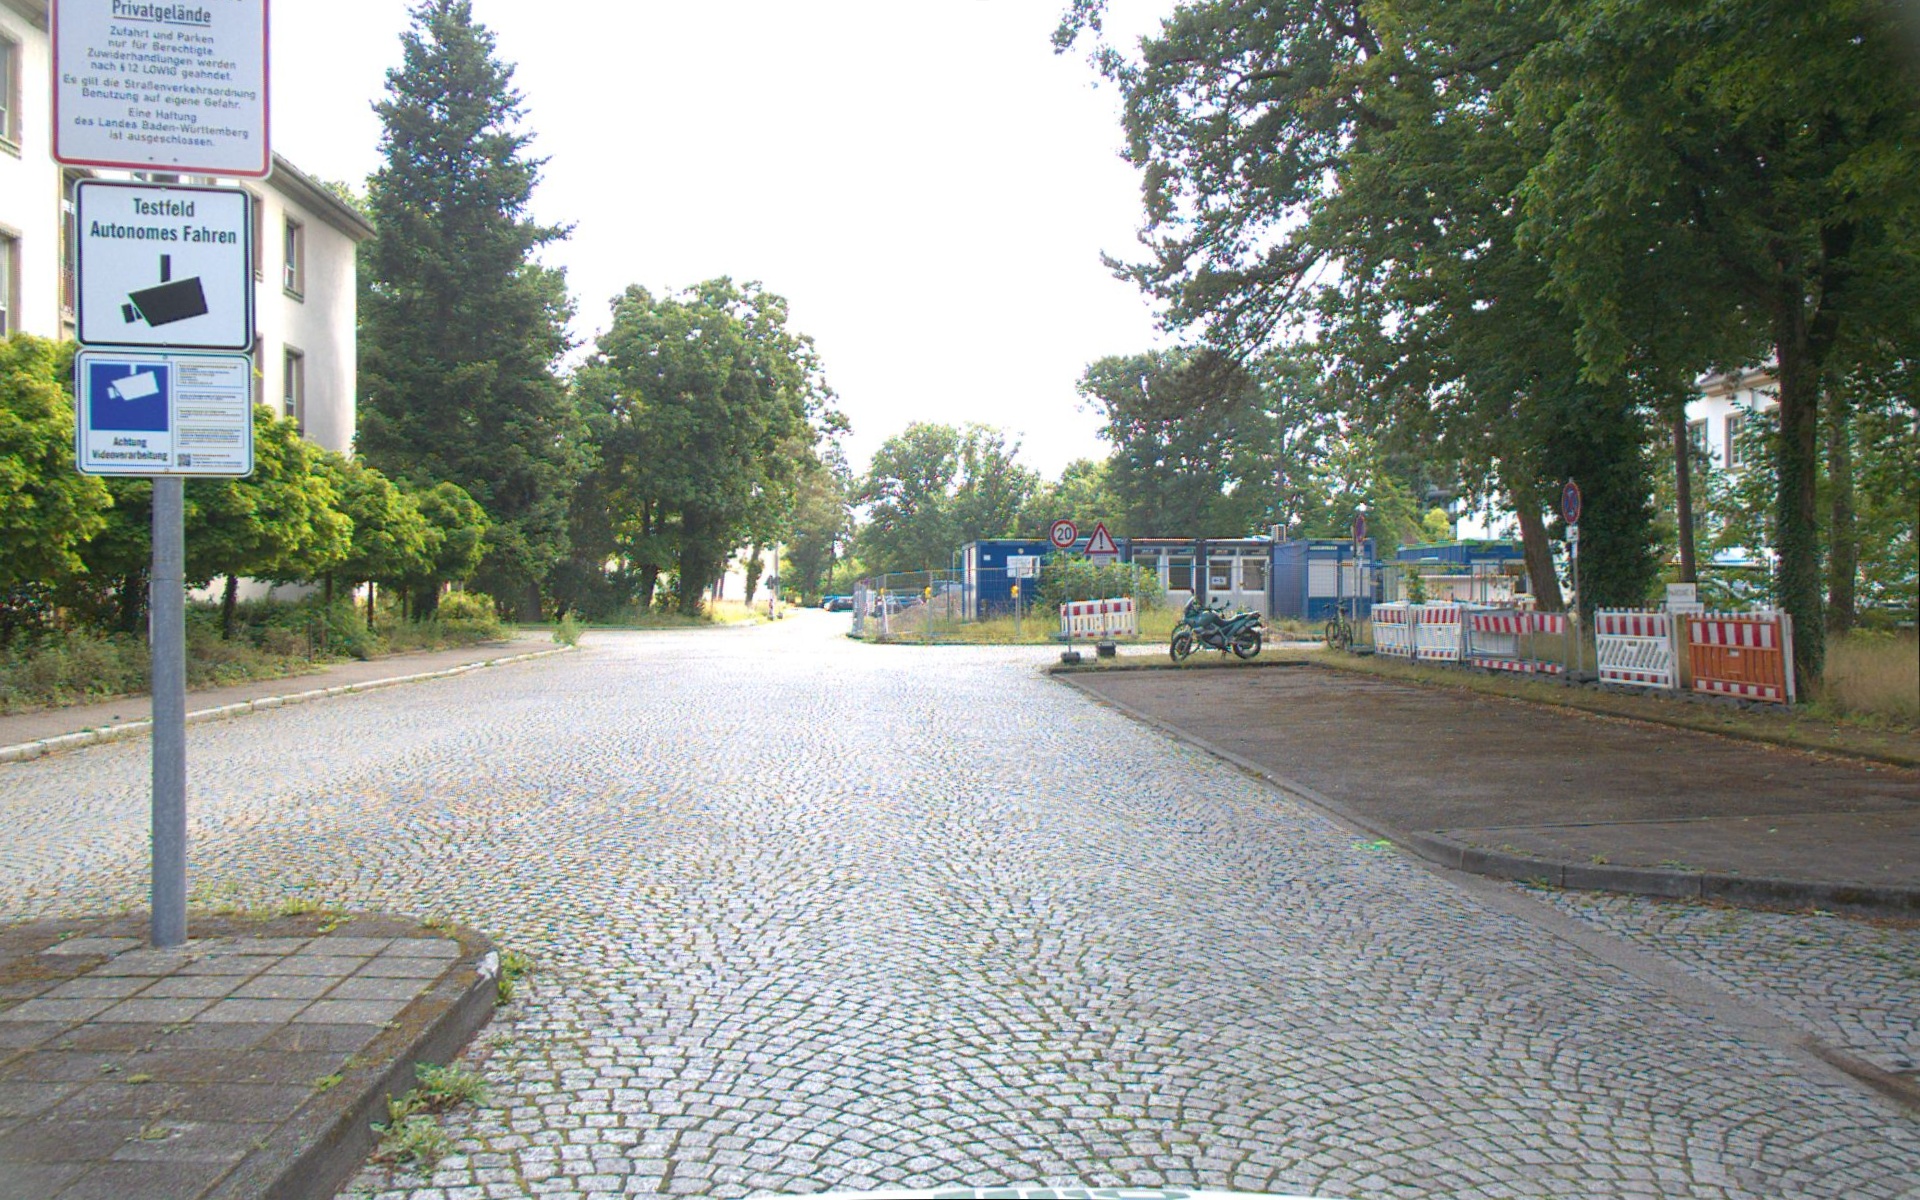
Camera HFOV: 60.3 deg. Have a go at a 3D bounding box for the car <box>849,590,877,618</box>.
[{"bbox_3d":[-7.363,0.299,125.163,1.955,2.049,4.086,0,-1,-5],"label":"car"}]

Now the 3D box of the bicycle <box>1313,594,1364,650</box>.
[{"bbox_3d":[8.385,0.473,36.685,0.629,1.189,1.904,-1,0,-2],"label":"bicycle"}]

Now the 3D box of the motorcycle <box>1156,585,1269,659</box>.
[{"bbox_3d":[5.340,0.455,34.976,2.234,1.511,0.755,-1,0,-9],"label":"motorcycle"}]

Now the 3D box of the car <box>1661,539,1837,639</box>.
[{"bbox_3d":[22.000,-0.278,46.436,1.953,2.601,5.907,1,0,-2],"label":"car"}]

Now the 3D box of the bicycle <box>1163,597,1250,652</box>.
[{"bbox_3d":[5.592,0.562,37.475,1.858,1.218,0.656,-1,0,16],"label":"bicycle"}]

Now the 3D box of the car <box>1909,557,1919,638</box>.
[{"bbox_3d":[23.981,-0.025,36.627,1.973,1.857,4.825,1,-1,-30],"label":"car"}]

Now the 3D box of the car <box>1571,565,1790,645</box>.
[{"bbox_3d":[18.215,0.095,41.948,4.761,1.954,1.906,0,1,-3],"label":"car"}]

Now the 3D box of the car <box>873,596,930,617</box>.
[{"bbox_3d":[-4.600,0.502,131.229,4.310,1.537,2.001,1,-1,4],"label":"car"}]

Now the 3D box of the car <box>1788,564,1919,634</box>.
[{"bbox_3d":[25.583,0.002,46.592,1.953,1.857,4.872,1,0,-2],"label":"car"}]
